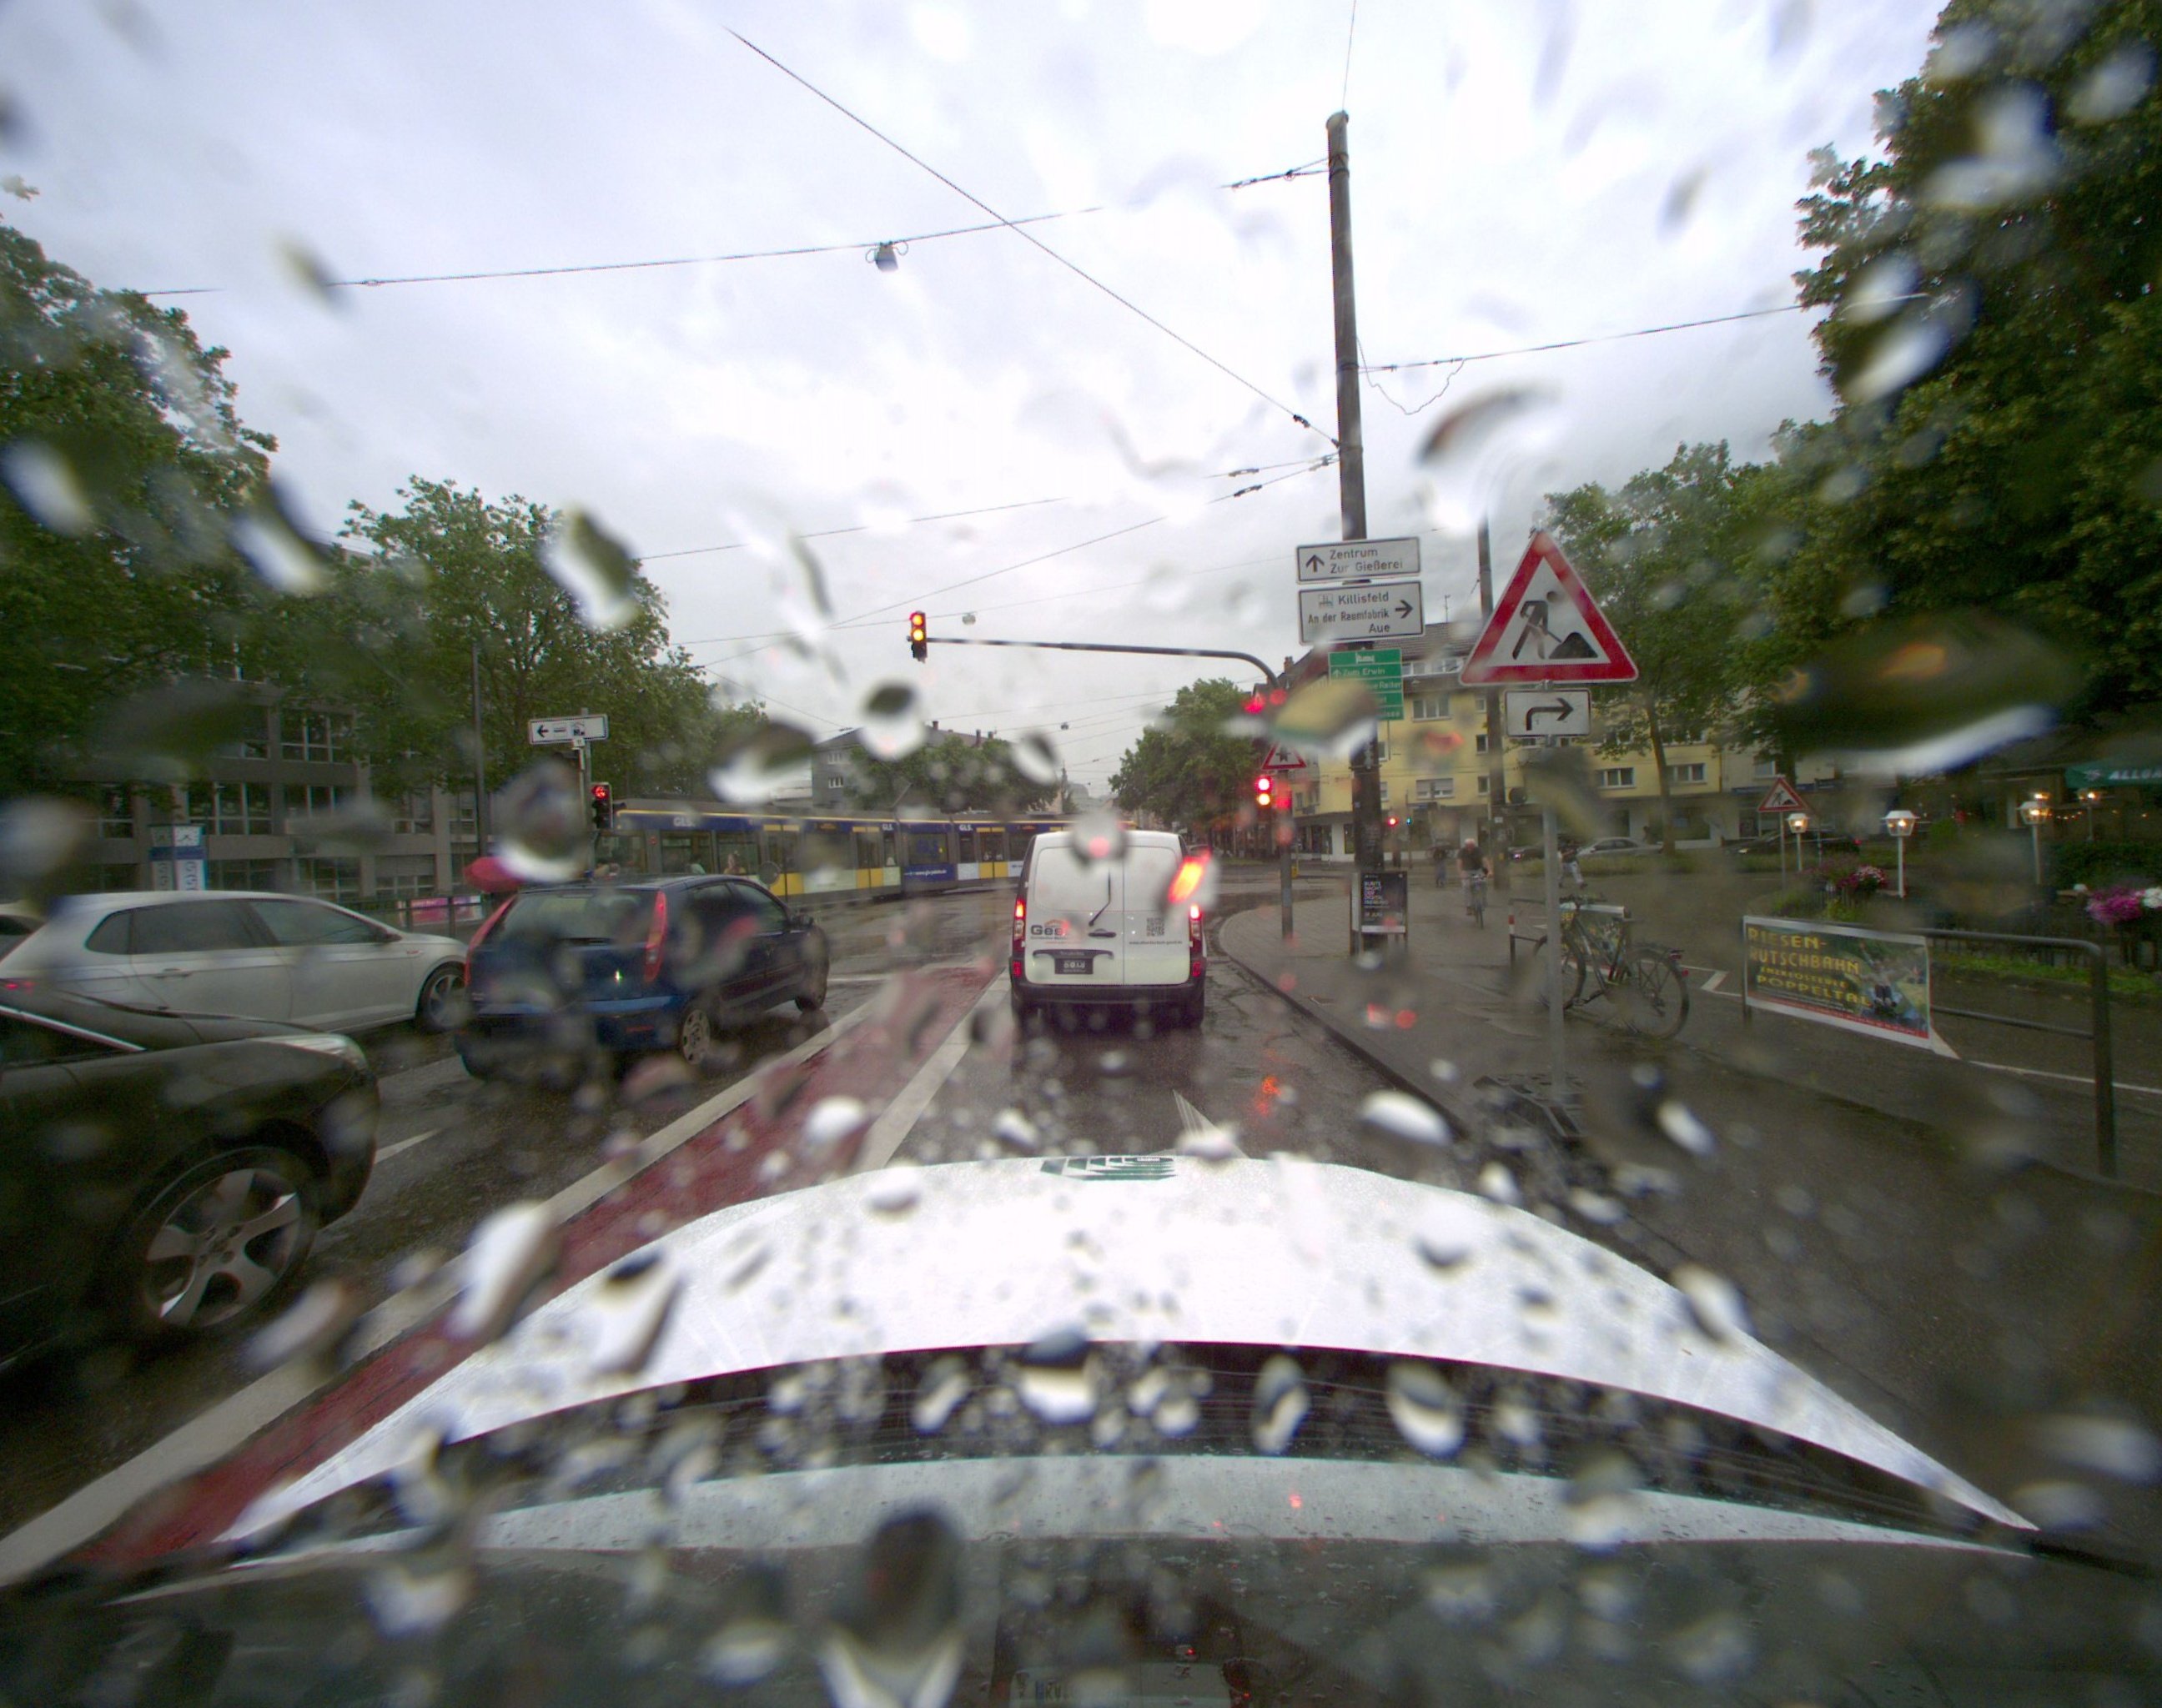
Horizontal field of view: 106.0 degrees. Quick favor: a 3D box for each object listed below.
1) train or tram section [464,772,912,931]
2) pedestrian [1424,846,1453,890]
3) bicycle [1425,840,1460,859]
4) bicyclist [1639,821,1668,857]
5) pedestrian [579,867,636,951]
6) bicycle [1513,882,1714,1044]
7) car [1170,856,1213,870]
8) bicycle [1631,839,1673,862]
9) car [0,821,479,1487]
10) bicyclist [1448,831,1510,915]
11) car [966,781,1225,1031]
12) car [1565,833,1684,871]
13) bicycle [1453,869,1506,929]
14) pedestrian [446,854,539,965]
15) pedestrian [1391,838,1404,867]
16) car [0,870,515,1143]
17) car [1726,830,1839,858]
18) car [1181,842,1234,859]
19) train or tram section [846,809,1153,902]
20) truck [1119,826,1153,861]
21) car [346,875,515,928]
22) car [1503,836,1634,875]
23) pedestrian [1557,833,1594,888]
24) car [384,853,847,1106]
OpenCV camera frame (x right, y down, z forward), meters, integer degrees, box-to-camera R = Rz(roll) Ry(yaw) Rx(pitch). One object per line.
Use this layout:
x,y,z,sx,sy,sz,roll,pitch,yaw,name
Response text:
-10.440,-0.036,24.986,3.483,3.512,13.729,0,0,21,train or tram section
12.778,0.506,29.112,0.820,1.534,0.616,-1,-1,-37,pedestrian
24.324,-0.297,54.864,2.085,1.261,0.534,-1,1,16,bicycle
26.523,-0.695,37.743,0.810,1.615,0.711,-1,0,2,bicyclist
-9.299,1.065,16.004,0.621,1.607,0.744,-1,0,9,pedestrian
4.484,0.845,7.052,0.512,1.107,2.018,1,0,3,bicycle
9.567,0.751,70.587,3.437,1.130,1.468,-1,0,-6,car
26.451,-0.160,37.736,1.631,1.002,0.422,-1,0,2,bicycle
-3.649,0.764,1.523,1.827,1.668,4.174,-1,0,2,car
7.741,0.359,15.885,0.872,1.583,0.863,-1,0,12,bicyclist
0.193,0.448,9.223,2.092,2.012,4.965,-2,-1,2,car
23.276,-0.084,35.056,3.906,1.490,1.815,-1,1,17,car
7.763,0.854,15.932,0.455,1.027,1.908,-1,1,12,bicycle
-9.867,0.902,13.699,0.763,1.746,0.899,-4,1,1,pedestrian
16.767,-0.070,43.178,0.615,1.500,0.555,-1,-1,18,pedestrian
-6.740,0.918,6.545,1.623,1.494,3.783,-1,0,2,car
29.275,-0.406,34.040,3.511,1.082,1.248,-1,0,4,car
10.677,-0.316,68.844,4.160,1.339,1.518,-2,1,-6,car
-2.857,0.060,37.118,3.507,3.413,15.599,0,0,42,train or tram section
8.608,-1.564,129.815,3.462,5.087,15.286,-1,0,-4,truck
-18.602,1.326,23.487,1.582,1.314,3.538,-1,0,16,car
22.852,0.109,38.378,4.902,1.643,2.007,-1,-3,14,car
15.245,0.201,25.141,0.896,1.669,1.026,-1,0,27,pedestrian
-3.519,0.805,7.093,1.720,1.578,3.822,-1,0,2,car
